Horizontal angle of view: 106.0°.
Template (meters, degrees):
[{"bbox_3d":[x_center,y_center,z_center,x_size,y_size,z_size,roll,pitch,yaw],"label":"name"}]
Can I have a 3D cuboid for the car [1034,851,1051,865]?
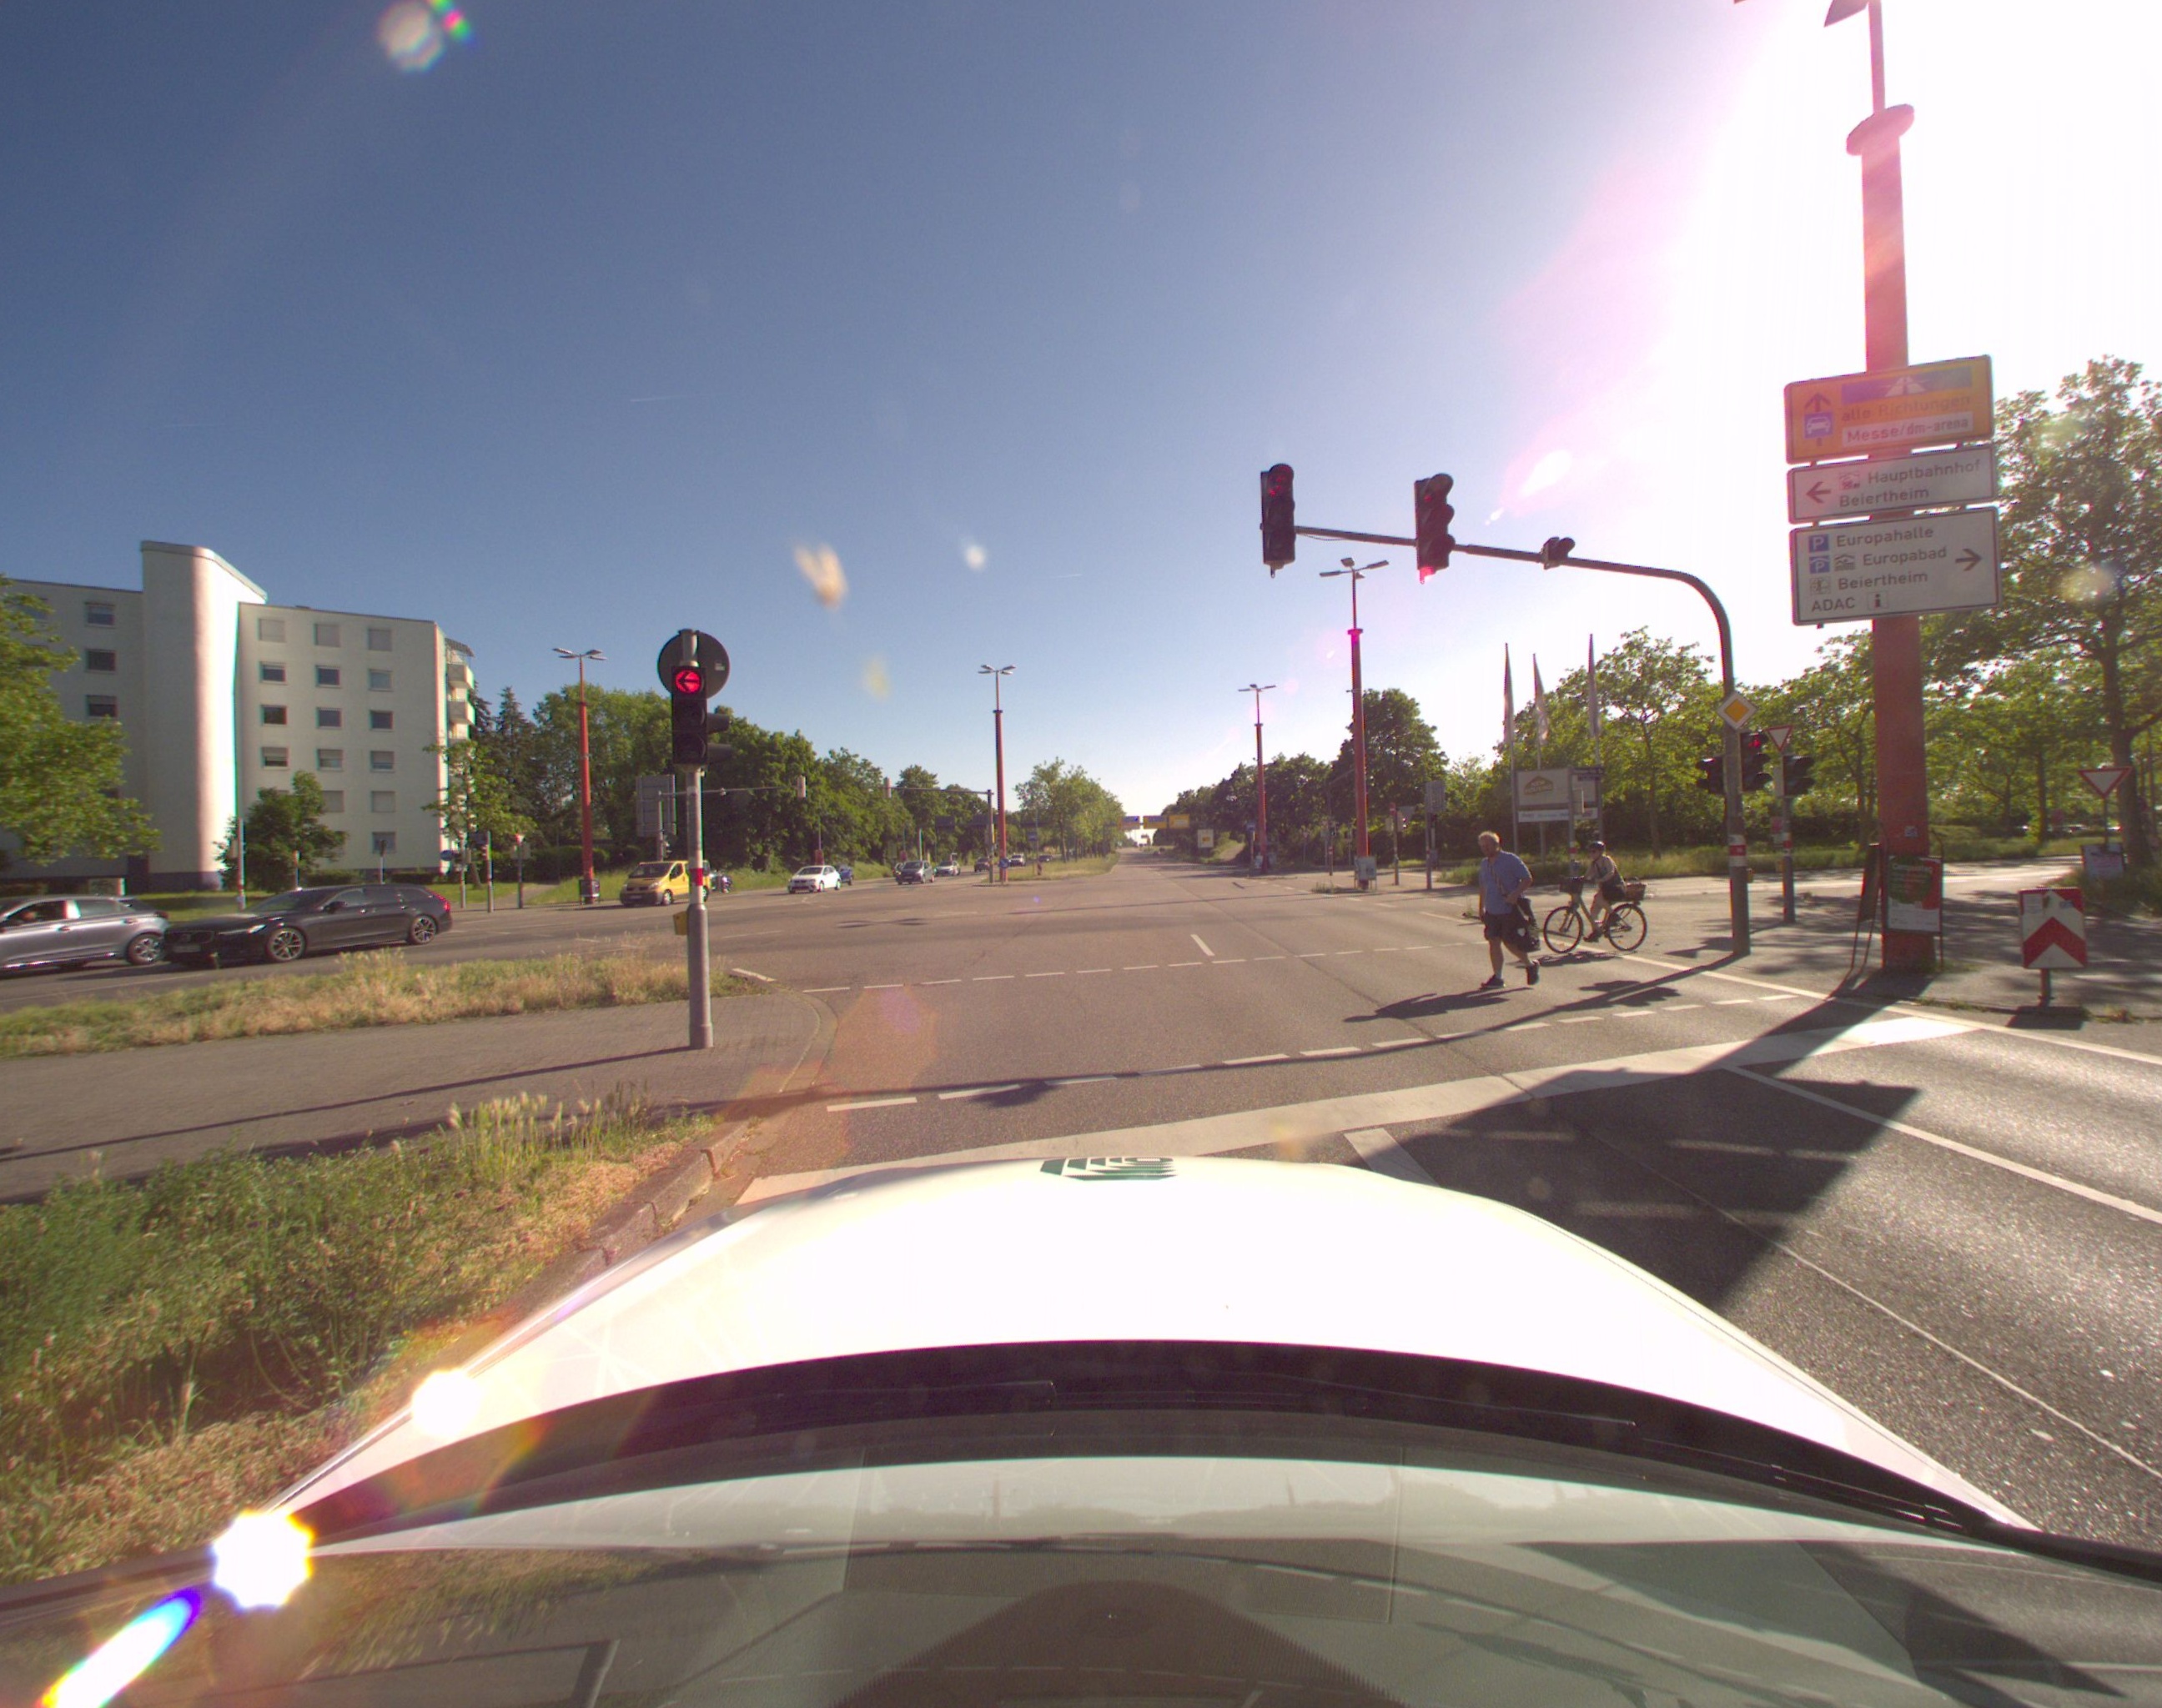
[{"bbox_3d":[-5.032,0.492,106.930,1.649,1.747,4.005,-1,-1,4],"label":"car"}]

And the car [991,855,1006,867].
[{"bbox_3d":[-13.770,1.204,136.394,1.997,2.014,4.000,-1,-1,0],"label":"car"}]

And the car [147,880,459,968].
[{"bbox_3d":[-15.668,1.328,16.879,1.621,1.368,4.801,-2,0,4],"label":"car"}]

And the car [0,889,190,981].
[{"bbox_3d":[-19.388,1.481,14.878,1.689,1.464,4.003,-2,0,3],"label":"car"}]

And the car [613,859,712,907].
[{"bbox_3d":[-18.558,1.240,36.397,1.750,1.987,4.793,-1,-1,3],"label":"car"}]

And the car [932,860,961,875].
[{"bbox_3d":[-12.687,1.238,76.906,1.997,1.308,4.000,-2,0,0],"label":"car"}]

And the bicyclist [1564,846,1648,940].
[{"bbox_3d":[7.791,0.561,12.115,0.739,1.341,0.705,-2,0,-9],"label":"bicyclist"}]

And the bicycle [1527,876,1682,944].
[{"bbox_3d":[7.815,0.815,12.155,2.163,0.878,0.557,-2,0,-12],"label":"bicycle"}]

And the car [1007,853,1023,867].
[{"bbox_3d":[-9.873,0.883,121.534,1.997,2.014,4.000,-1,-1,0],"label":"car"}]

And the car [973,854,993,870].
[{"bbox_3d":[-11.439,0.929,95.431,1.618,1.739,4.004,-2,0,4],"label":"car"}]

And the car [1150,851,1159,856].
[{"bbox_3d":[19.524,-0.199,216.013,2.046,1.371,4.393,-2,0,2],"label":"car"}]

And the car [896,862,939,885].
[{"bbox_3d":[-10.480,1.218,52.477,1.693,1.421,4.003,1,-1,3],"label":"car"}]

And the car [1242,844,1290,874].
[{"bbox_3d":[12.198,0.319,53.481,1.974,1.887,4.025,-2,0,29],"label":"car"}]

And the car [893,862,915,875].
[{"bbox_3d":[-19.236,1.553,88.532,1.526,1.449,3.704,-1,-1,0],"label":"car"}]

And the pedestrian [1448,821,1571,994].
[{"bbox_3d":[4.760,0.549,9.053,0.899,1.788,0.890,-1,-1,-39],"label":"pedestrian"}]

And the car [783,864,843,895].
[{"bbox_3d":[-14.511,1.334,44.275,1.696,1.596,4.004,-1,-1,4],"label":"car"}]
